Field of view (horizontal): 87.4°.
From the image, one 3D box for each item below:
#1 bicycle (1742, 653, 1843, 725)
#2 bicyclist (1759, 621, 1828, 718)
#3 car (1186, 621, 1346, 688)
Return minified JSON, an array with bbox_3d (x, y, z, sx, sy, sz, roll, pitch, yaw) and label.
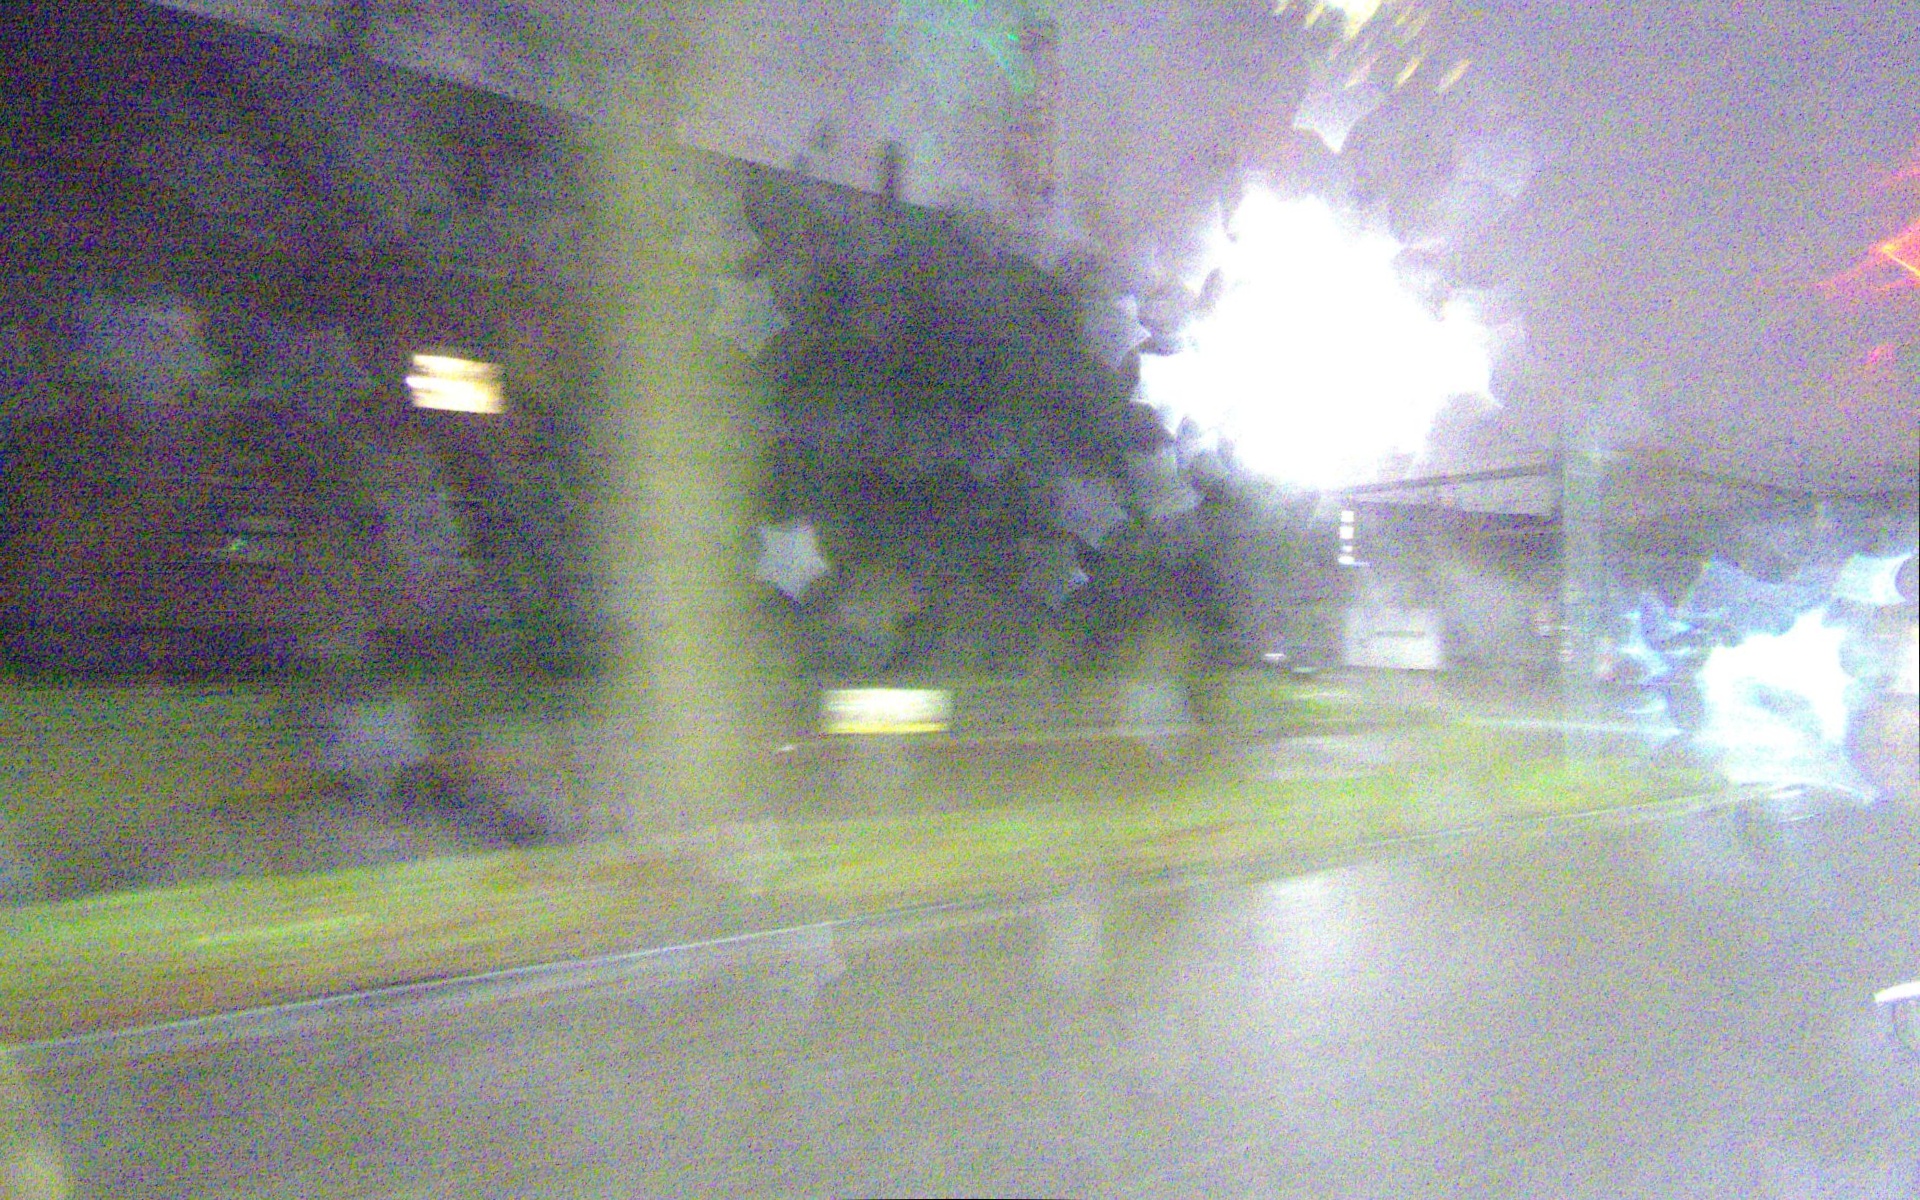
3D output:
[{"bbox_3d":[14.860,1.563,17.919,2.287,1.176,0.627,2,1,-31],"label":"bicycle"},{"bbox_3d":[14.783,1.213,17.819,0.949,1.616,0.633,-1,3,-31],"label":"bicyclist"},{"bbox_3d":[7.614,1.324,25.385,1.475,1.388,4.064,7,-3,-24],"label":"car"}]
